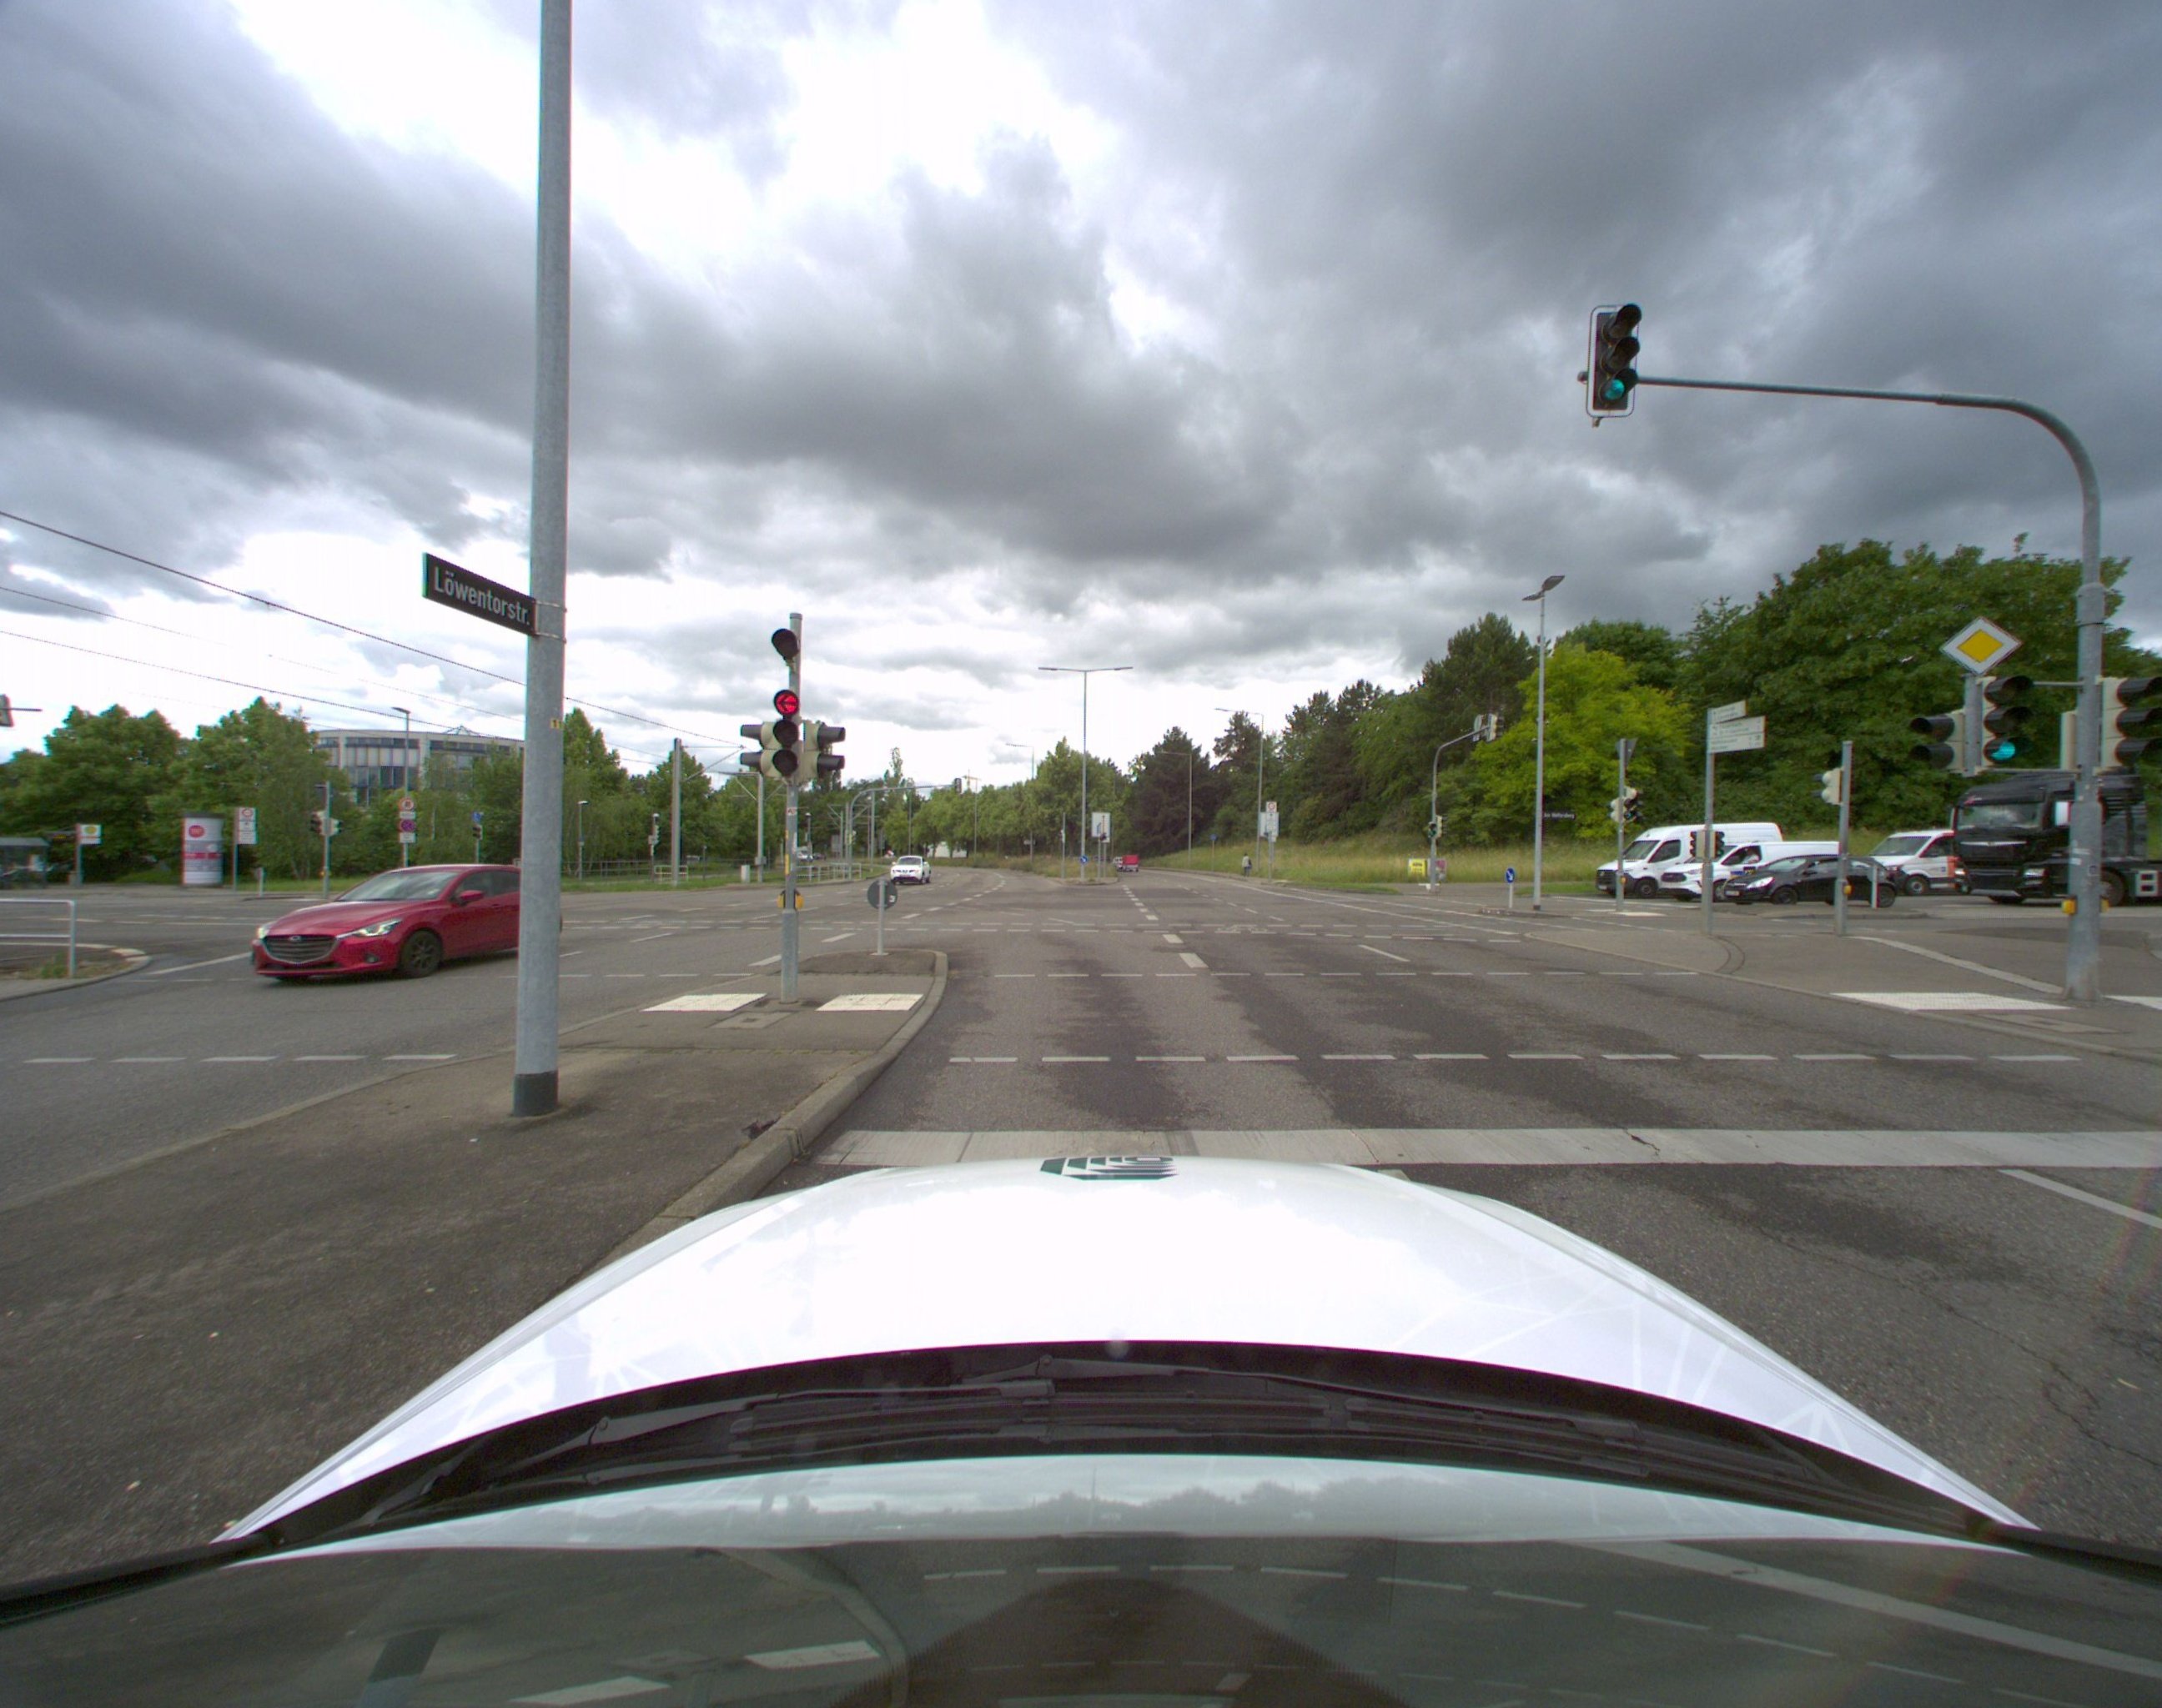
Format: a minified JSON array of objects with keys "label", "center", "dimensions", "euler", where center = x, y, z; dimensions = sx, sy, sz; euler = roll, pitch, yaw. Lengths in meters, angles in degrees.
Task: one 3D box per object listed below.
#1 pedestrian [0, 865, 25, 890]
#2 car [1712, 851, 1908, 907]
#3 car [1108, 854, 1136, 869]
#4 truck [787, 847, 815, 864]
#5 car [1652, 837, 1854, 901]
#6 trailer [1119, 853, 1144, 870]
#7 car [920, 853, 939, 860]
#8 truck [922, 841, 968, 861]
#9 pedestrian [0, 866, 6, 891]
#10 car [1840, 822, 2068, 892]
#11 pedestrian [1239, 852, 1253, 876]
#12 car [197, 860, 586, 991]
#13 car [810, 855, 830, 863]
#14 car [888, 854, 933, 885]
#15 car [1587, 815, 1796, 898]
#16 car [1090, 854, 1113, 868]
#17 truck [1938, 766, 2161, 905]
[{"label":"pedestrian","center":[-56.406,1.236,42.924],"dimensions":[0.774,1.304,0.666],"euler":[0,0,15]},{"label":"car","center":[20.276,0.670,22.774],"dimensions":[3.905,1.436,1.732],"euler":[-1,0,1]},{"label":"car","center":[4.158,0.748,83.129],"dimensions":[1.779,1.421,4.441],"euler":[-1,0,-11]},{"label":"truck","center":[-52.952,0.219,153.888],"dimensions":[5.823,3.135,2.136],"euler":[-1,-1,36]},{"label":"car","center":[21.588,0.459,26.331],"dimensions":[4.836,1.896,2.034],"euler":[-1,0,1]},{"label":"trailer","center":[4.896,0.671,79.466],"dimensions":[1.766,1.616,3.032],"euler":[0,0,-11]},{"label":"car","center":[-33.243,0.620,178.439],"dimensions":[1.761,1.546,4.050],"euler":[0,0,32]},{"label":"truck","center":[-23.940,-0.459,142.597],"dimensions":[2.762,3.328,11.274],"euler":[-1,0,-39]},{"label":"pedestrian","center":[-57.768,1.291,43.189],"dimensions":[0.774,1.303,0.666],"euler":[0,0,15]},{"label":"car","center":[30.679,0.111,28.765],"dimensions":[5.677,2.289,2.136],"euler":[-1,0,2]},{"label":"pedestrian","center":[11.328,0.684,56.029],"dimensions":[0.811,1.627,0.791],"euler":[0,0,1]},{"label":"car","center":[-9.337,0.849,11.655],"dimensions":[1.775,1.443,4.424],"euler":[-1,0,0]},{"label":"car","center":[-54.816,1.025,170.922],"dimensions":[3.973,1.546,1.795],"euler":[0,0,33]},{"label":"car","center":[-9.372,0.811,45.149],"dimensions":[1.825,1.629,4.419],"euler":[-1,0,-4]},{"label":"car","center":[21.894,0.096,29.411],"dimensions":[5.870,2.781,2.136],"euler":[-1,0,2]},{"label":"car","center":[2.358,0.796,92.784],"dimensions":[1.779,1.546,4.009],"euler":[0,0,-12]},{"label":"truck","center":[27.931,-0.513,22.271],"dimensions":[6.027,3.538,2.729],"euler":[-1,0,2]}]
